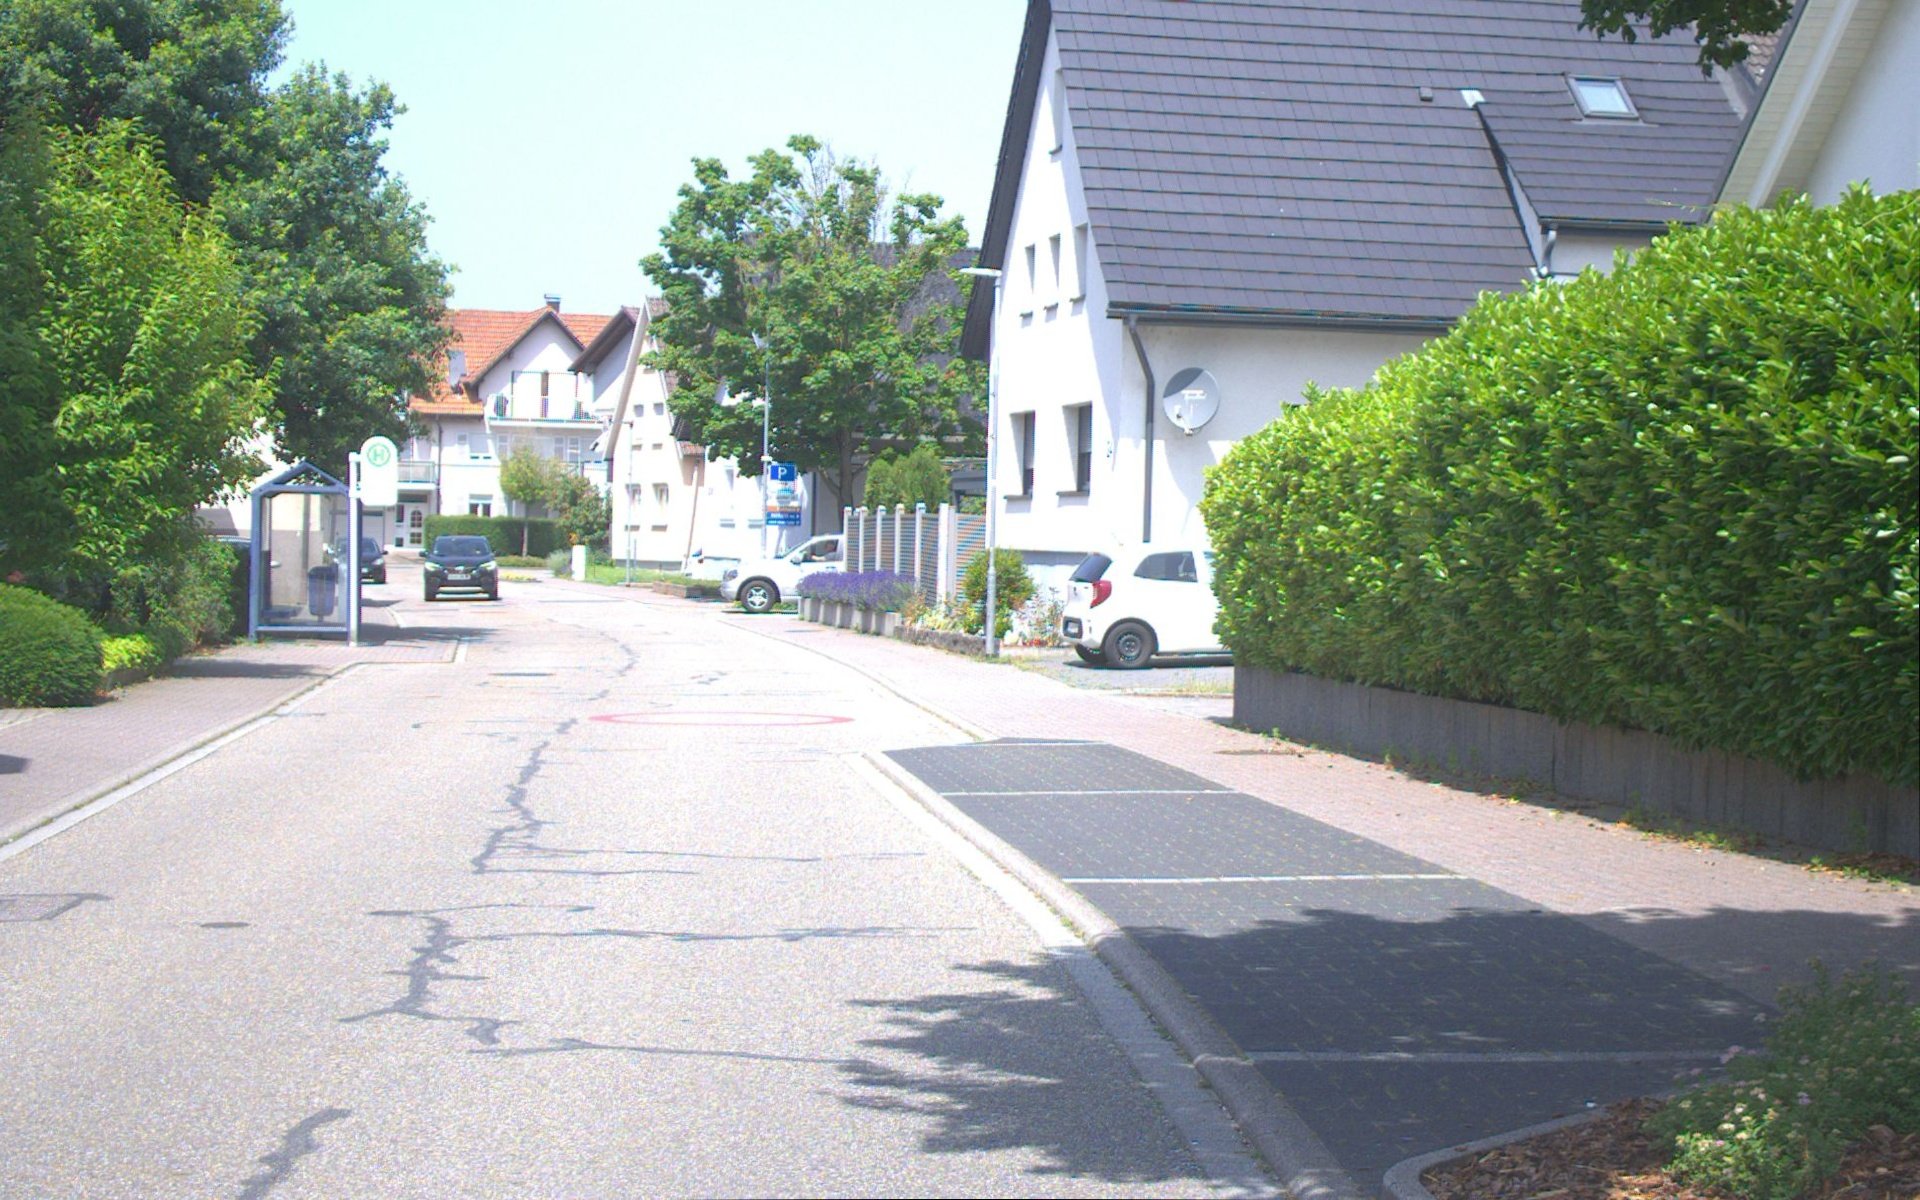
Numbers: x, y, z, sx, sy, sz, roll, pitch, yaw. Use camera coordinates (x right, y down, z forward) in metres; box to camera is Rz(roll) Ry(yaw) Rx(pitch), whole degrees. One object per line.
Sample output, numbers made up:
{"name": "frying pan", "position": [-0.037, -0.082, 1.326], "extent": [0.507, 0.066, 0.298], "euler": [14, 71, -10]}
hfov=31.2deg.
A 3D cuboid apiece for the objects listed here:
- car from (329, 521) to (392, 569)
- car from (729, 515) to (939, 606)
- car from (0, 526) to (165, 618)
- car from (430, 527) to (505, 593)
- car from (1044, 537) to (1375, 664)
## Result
{"name": "car", "position": [-18.977, -1.752, 108.738], "extent": [1.626, 1.481, 4.001], "euler": [0, 1, -14]}
{"name": "car", "position": [-2.737, -0.869, 73.946], "extent": [4.316, 1.761, 1.892], "euler": [-2, 2, -7]}
{"name": "car", "position": [-15.827, -0.489, 59.004], "extent": [4.159, 1.533, 1.774], "euler": [0, 1, -10]}
{"name": "car", "position": [-12.341, -1.019, 86.006], "extent": [1.775, 1.618, 4.106], "euler": [0, 1, -9]}
{"name": "car", "position": [3.016, -0.019, 41.823], "extent": [3.656, 1.469, 1.766], "euler": [0, 2, -13]}
